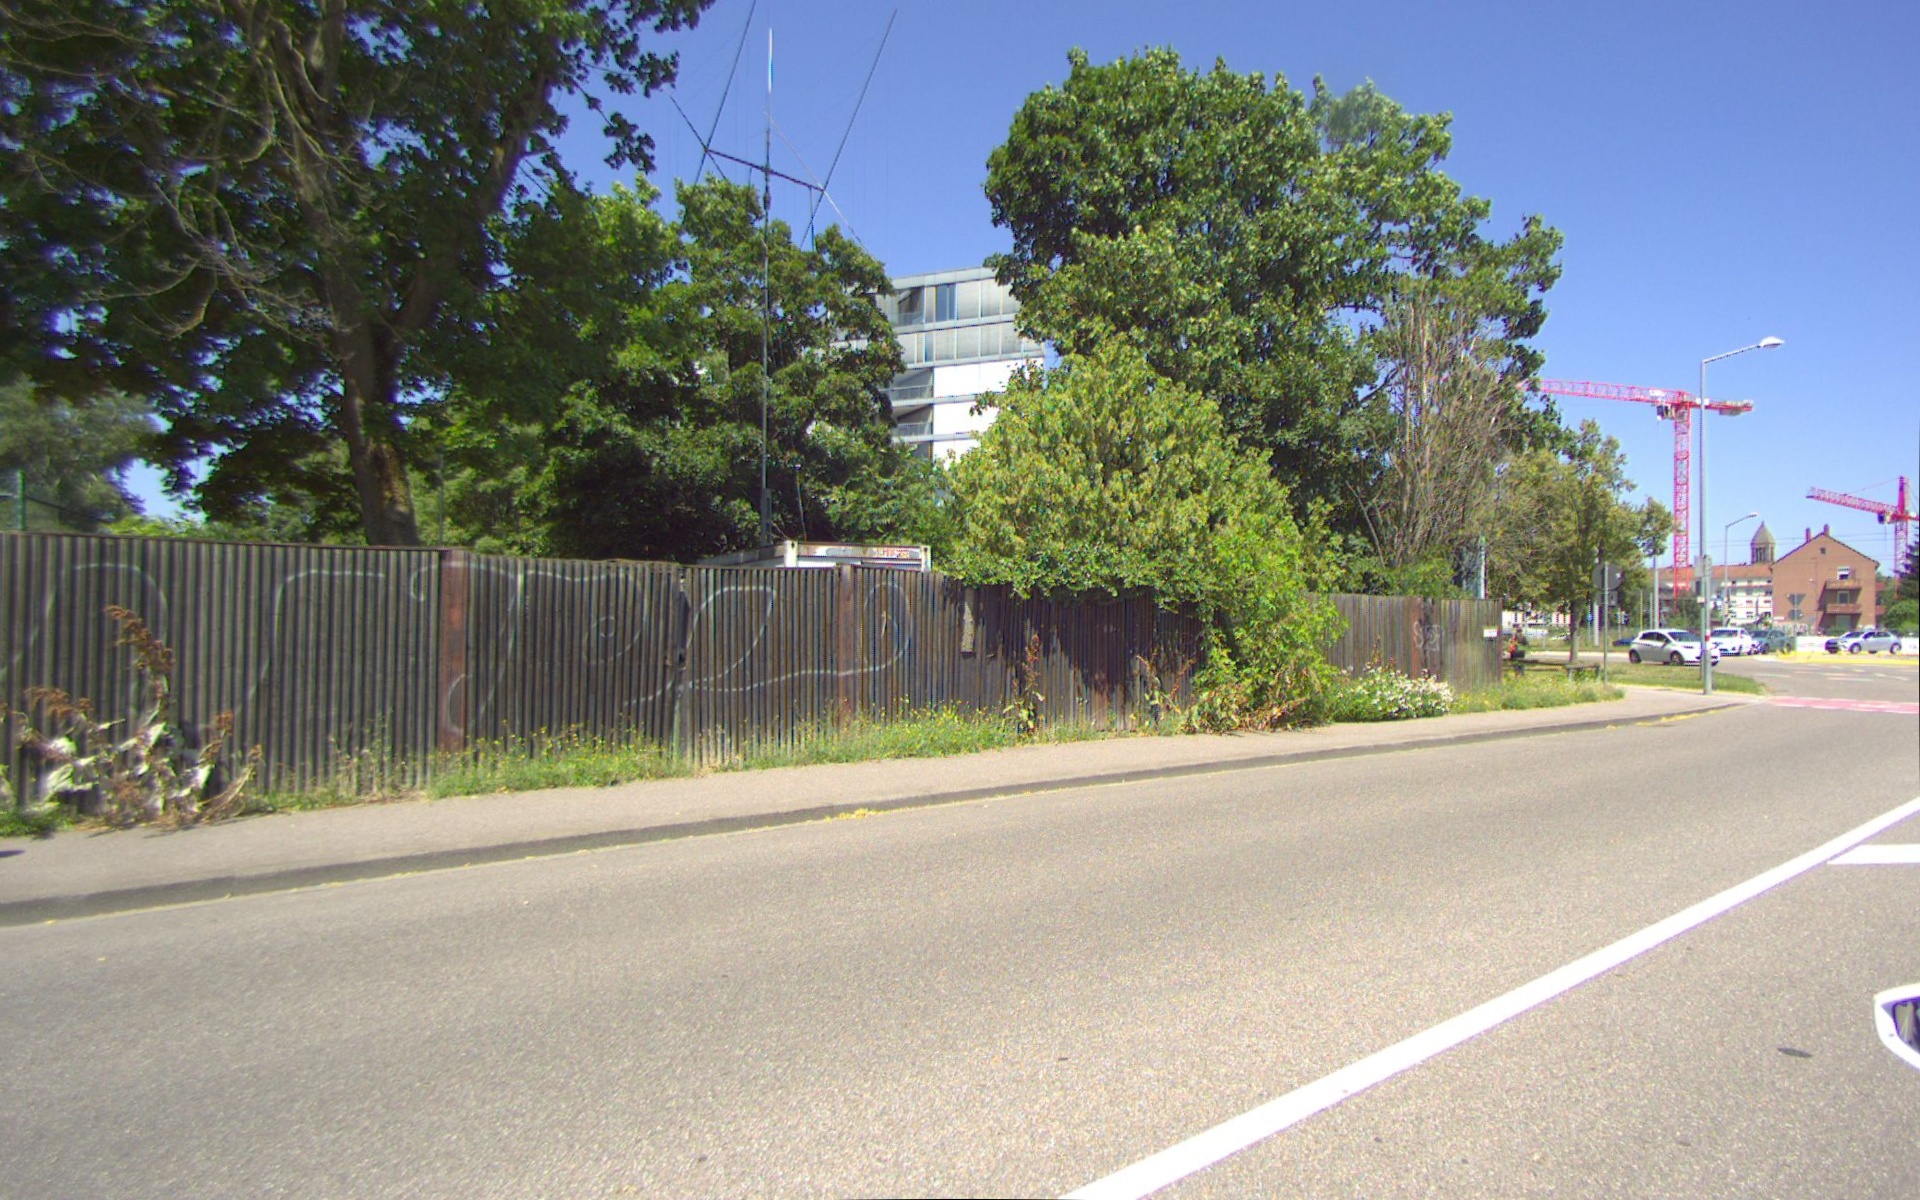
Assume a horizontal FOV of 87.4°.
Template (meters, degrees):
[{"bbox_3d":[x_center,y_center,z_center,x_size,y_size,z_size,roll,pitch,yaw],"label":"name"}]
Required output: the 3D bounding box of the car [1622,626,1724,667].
[{"bbox_3d":[31.501,2.020,44.516,1.647,1.641,4.012,1,-1,-1],"label":"car"}]

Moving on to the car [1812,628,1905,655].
[{"bbox_3d":[55.602,2.549,62.230,4.136,1.520,1.713,1,-1,3],"label":"car"}]

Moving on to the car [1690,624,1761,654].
[{"bbox_3d":[42.146,2.119,55.290,3.953,1.570,1.748,1,-1,-30],"label":"car"}]

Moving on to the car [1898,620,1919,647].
[{"bbox_3d":[68.190,2.351,69.331,4.597,1.852,1.998,1,-1,26],"label":"car"}]

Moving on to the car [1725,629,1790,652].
[{"bbox_3d":[46.626,2.358,58.716,3.742,1.253,1.699,1,-1,-30],"label":"car"}]

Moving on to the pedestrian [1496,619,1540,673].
[{"bbox_3d":[16.782,1.368,30.213,0.796,1.584,0.876,1,0,-7],"label":"pedestrian"}]
